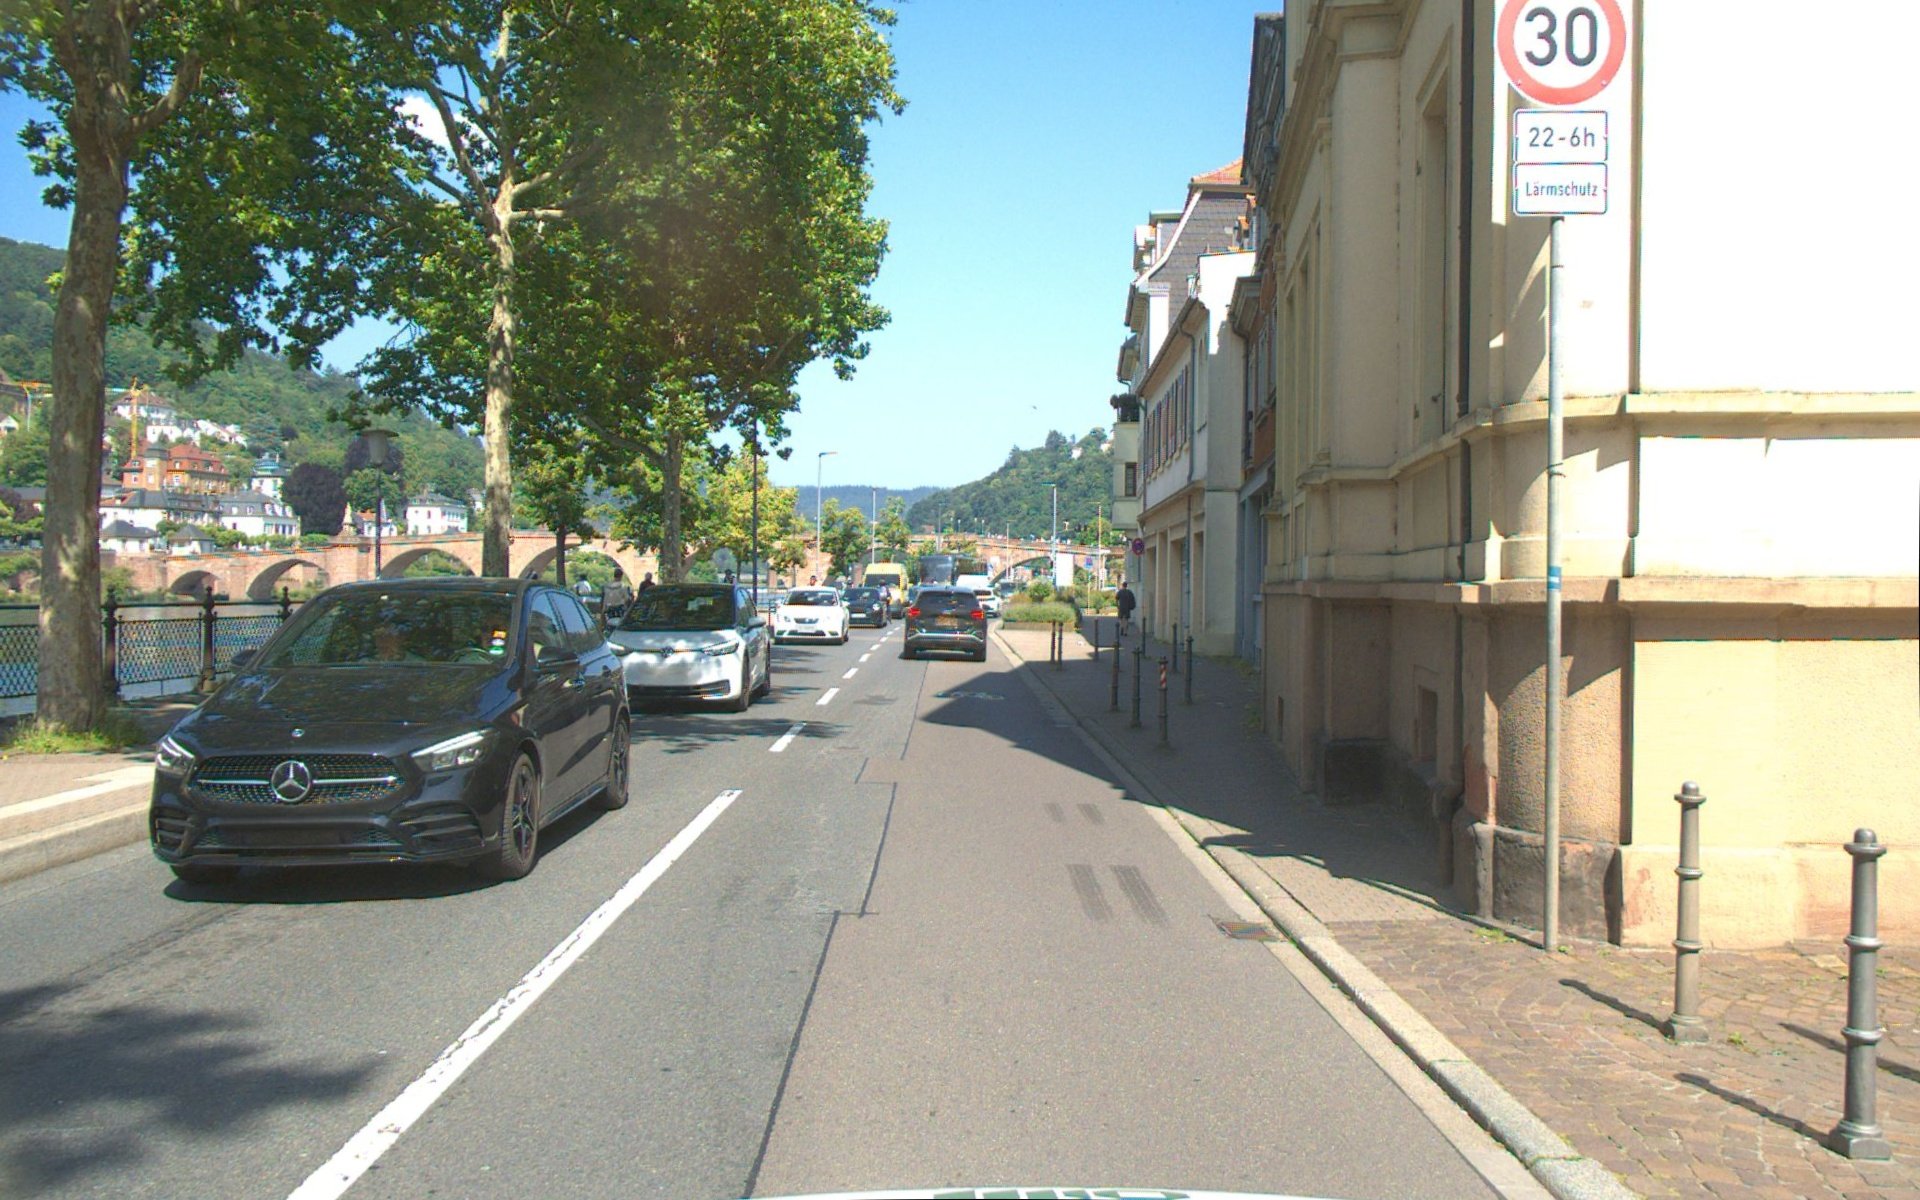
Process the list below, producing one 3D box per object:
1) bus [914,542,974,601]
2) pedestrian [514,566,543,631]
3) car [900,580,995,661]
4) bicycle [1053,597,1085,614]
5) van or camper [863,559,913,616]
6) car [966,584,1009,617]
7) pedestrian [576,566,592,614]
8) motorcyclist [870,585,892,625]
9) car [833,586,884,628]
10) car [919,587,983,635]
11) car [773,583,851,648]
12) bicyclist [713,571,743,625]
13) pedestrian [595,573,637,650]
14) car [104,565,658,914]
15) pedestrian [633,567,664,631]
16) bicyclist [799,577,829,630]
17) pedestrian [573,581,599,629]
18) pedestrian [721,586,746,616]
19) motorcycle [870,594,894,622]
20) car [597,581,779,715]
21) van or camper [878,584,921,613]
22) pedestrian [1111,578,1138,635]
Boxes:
[{"bbox_3d":[-0.973,-1.806,112.056,2.575,3.626,12.991,1,0,6],"label":"bus"},{"bbox_3d":[-13.441,-0.051,51.512,0.679,1.979,0.886,0,0,-2],"label":"pedestrian"},{"bbox_3d":[-0.332,0.429,36.063,1.888,1.580,4.830,2,0,-2],"label":"car"},{"bbox_3d":[6.235,0.320,94.297,1.772,0.893,0.502,2,1,3],"label":"bicycle"},{"bbox_3d":[-3.420,-0.590,79.890,2.044,2.601,7.092,1,0,0],"label":"van or camper"},{"bbox_3d":[1.399,0.009,82.238,1.886,1.580,4.834,0,0,4],"label":"car"},{"bbox_3d":[-12.843,-0.348,56.491,0.406,1.625,0.451,0,0,6],"label":"pedestrian"},{"bbox_3d":[-3.237,0.196,67.678,0.861,1.611,1.024,0,0,-2],"label":"motorcyclist"},{"bbox_3d":[-3.684,0.243,60.553,1.666,1.484,4.001,0,0,-1],"label":"car"},{"bbox_3d":[-0.248,0.331,55.472,1.886,1.486,4.834,1,1,2],"label":"car"},{"bbox_3d":[-3.785,0.358,42.910,1.666,1.470,4.091,2,2,-1],"label":"car"},{"bbox_3d":[-6.939,-0.063,49.566,0.704,1.611,1.089,0,0,1],"label":"bicyclist"},{"bbox_3d":[-7.335,0.235,35.281,0.746,1.614,0.695,0,0,-2],"label":"pedestrian"},{"bbox_3d":[-3.047,0.629,9.763,1.666,1.544,4.405,-2,0,0],"label":"car"},{"bbox_3d":[-8.561,-0.017,45.495,0.643,1.711,0.758,3,0,-2],"label":"pedestrian"},{"bbox_3d":[-4.500,0.108,51.055,0.750,1.558,1.026,2,2,3],"label":"bicyclist"},{"bbox_3d":[-12.879,0.161,57.007,0.679,1.644,0.664,0,0,6],"label":"pedestrian"},{"bbox_3d":[-10.243,0.044,74.773,0.916,1.303,0.850,0,0,8],"label":"pedestrian"},{"bbox_3d":[-3.192,0.322,67.545,0.866,1.096,2.326,0,0,-5],"label":"motorcycle"},{"bbox_3d":[-3.420,0.534,21.510,1.700,1.544,4.404,-1,1,-1],"label":"car"},{"bbox_3d":[-3.169,-0.080,87.357,1.952,1.480,4.683,0,0,1],"label":"van or camper"},{"bbox_3d":[5.181,0.194,52.166,0.746,1.743,0.696,-2,0,2],"label":"pedestrian"}]
